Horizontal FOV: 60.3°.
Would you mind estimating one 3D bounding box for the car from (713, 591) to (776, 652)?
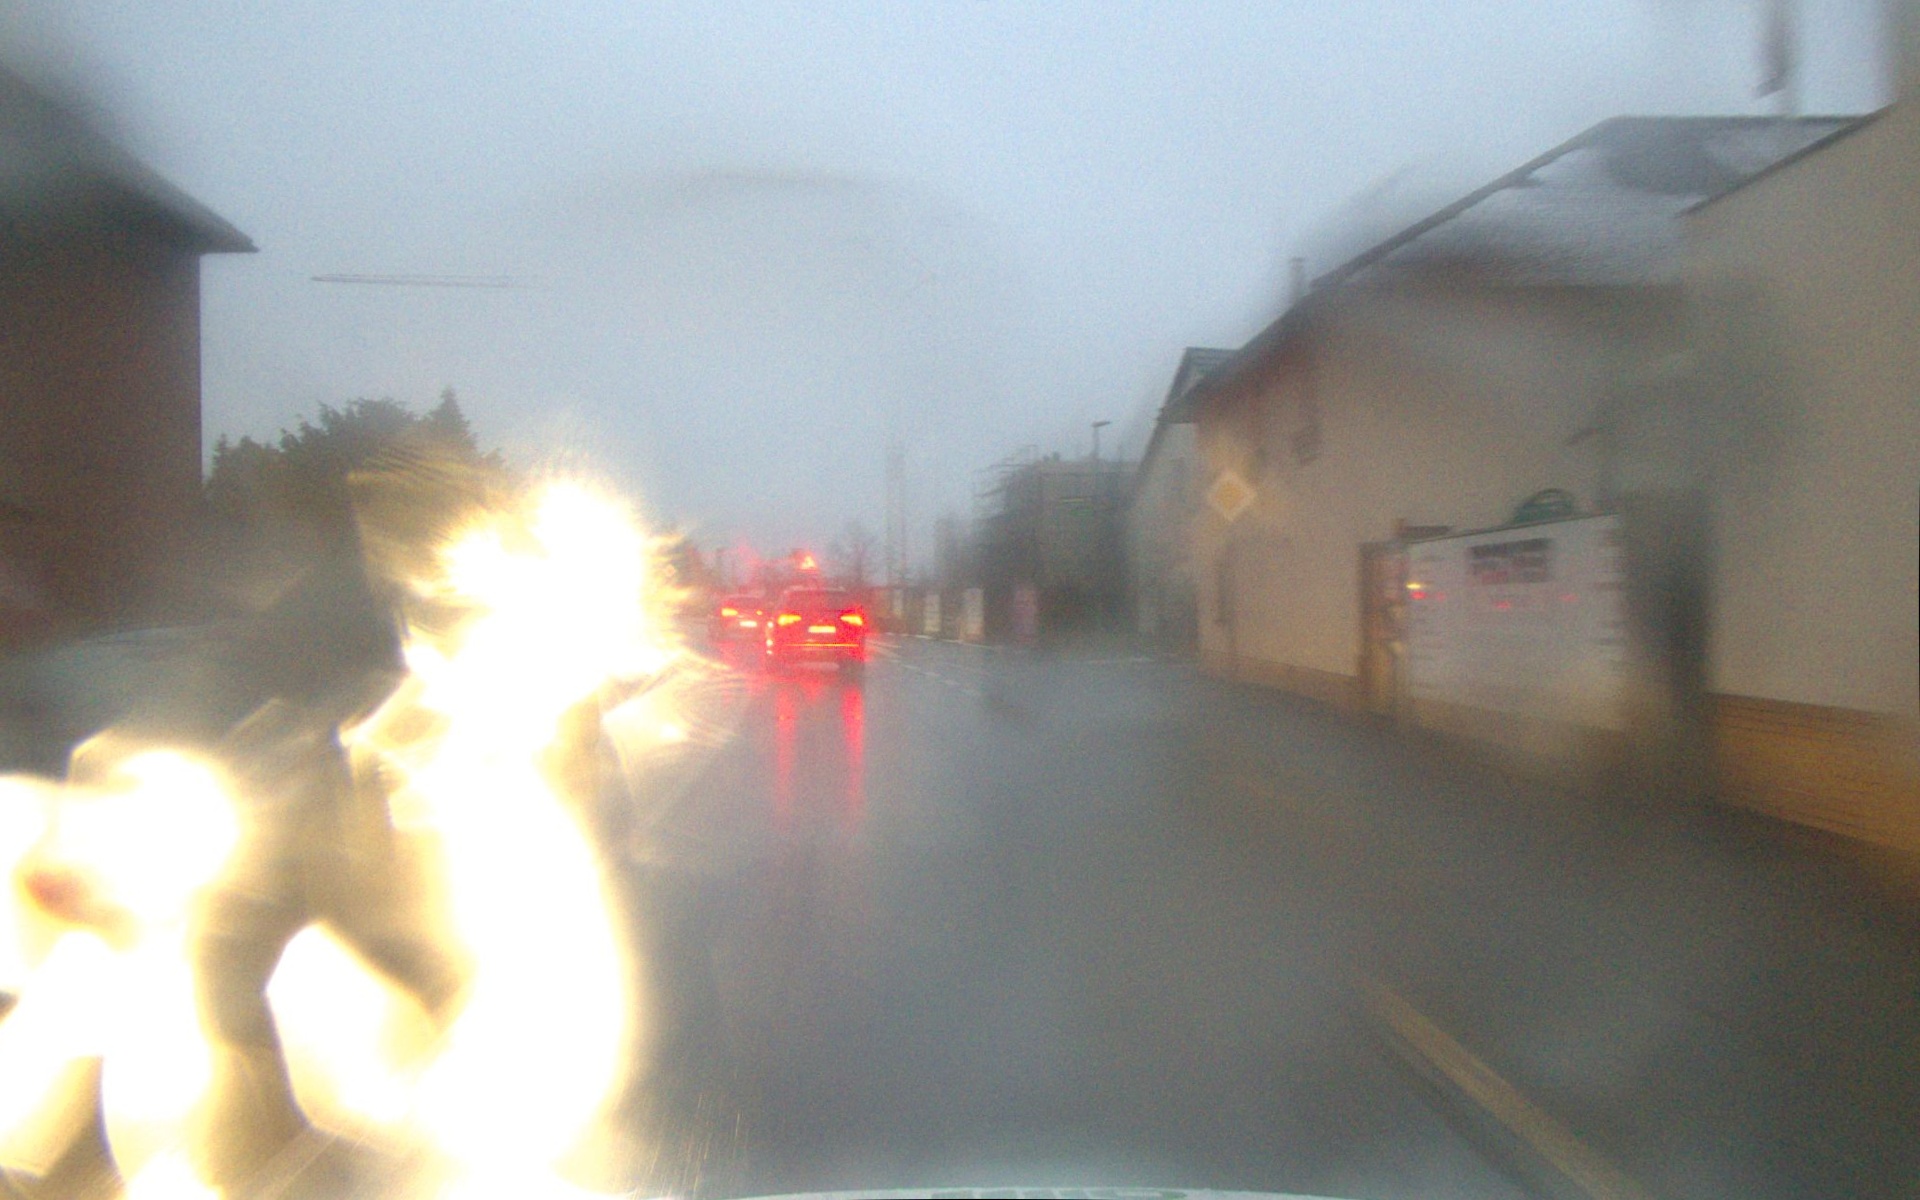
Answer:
[{"bbox_3d":[-7.268,0.684,55.559,1.957,1.914,3.992,-2,0,-9],"label":"car"}]

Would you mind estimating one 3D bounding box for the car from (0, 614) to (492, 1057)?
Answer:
[{"bbox_3d":[-3.563,0.807,7.569,1.789,1.397,4.283,-1,0,-3],"label":"car"}]

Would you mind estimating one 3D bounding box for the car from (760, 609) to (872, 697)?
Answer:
[{"bbox_3d":[-2.975,1.024,33.322,2.009,1.600,4.694,-1,-1,-8],"label":"car"}]

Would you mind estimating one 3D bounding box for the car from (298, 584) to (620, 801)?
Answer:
[{"bbox_3d":[-4.299,0.690,14.903,1.839,1.613,4.286,-2,1,-4],"label":"car"}]
